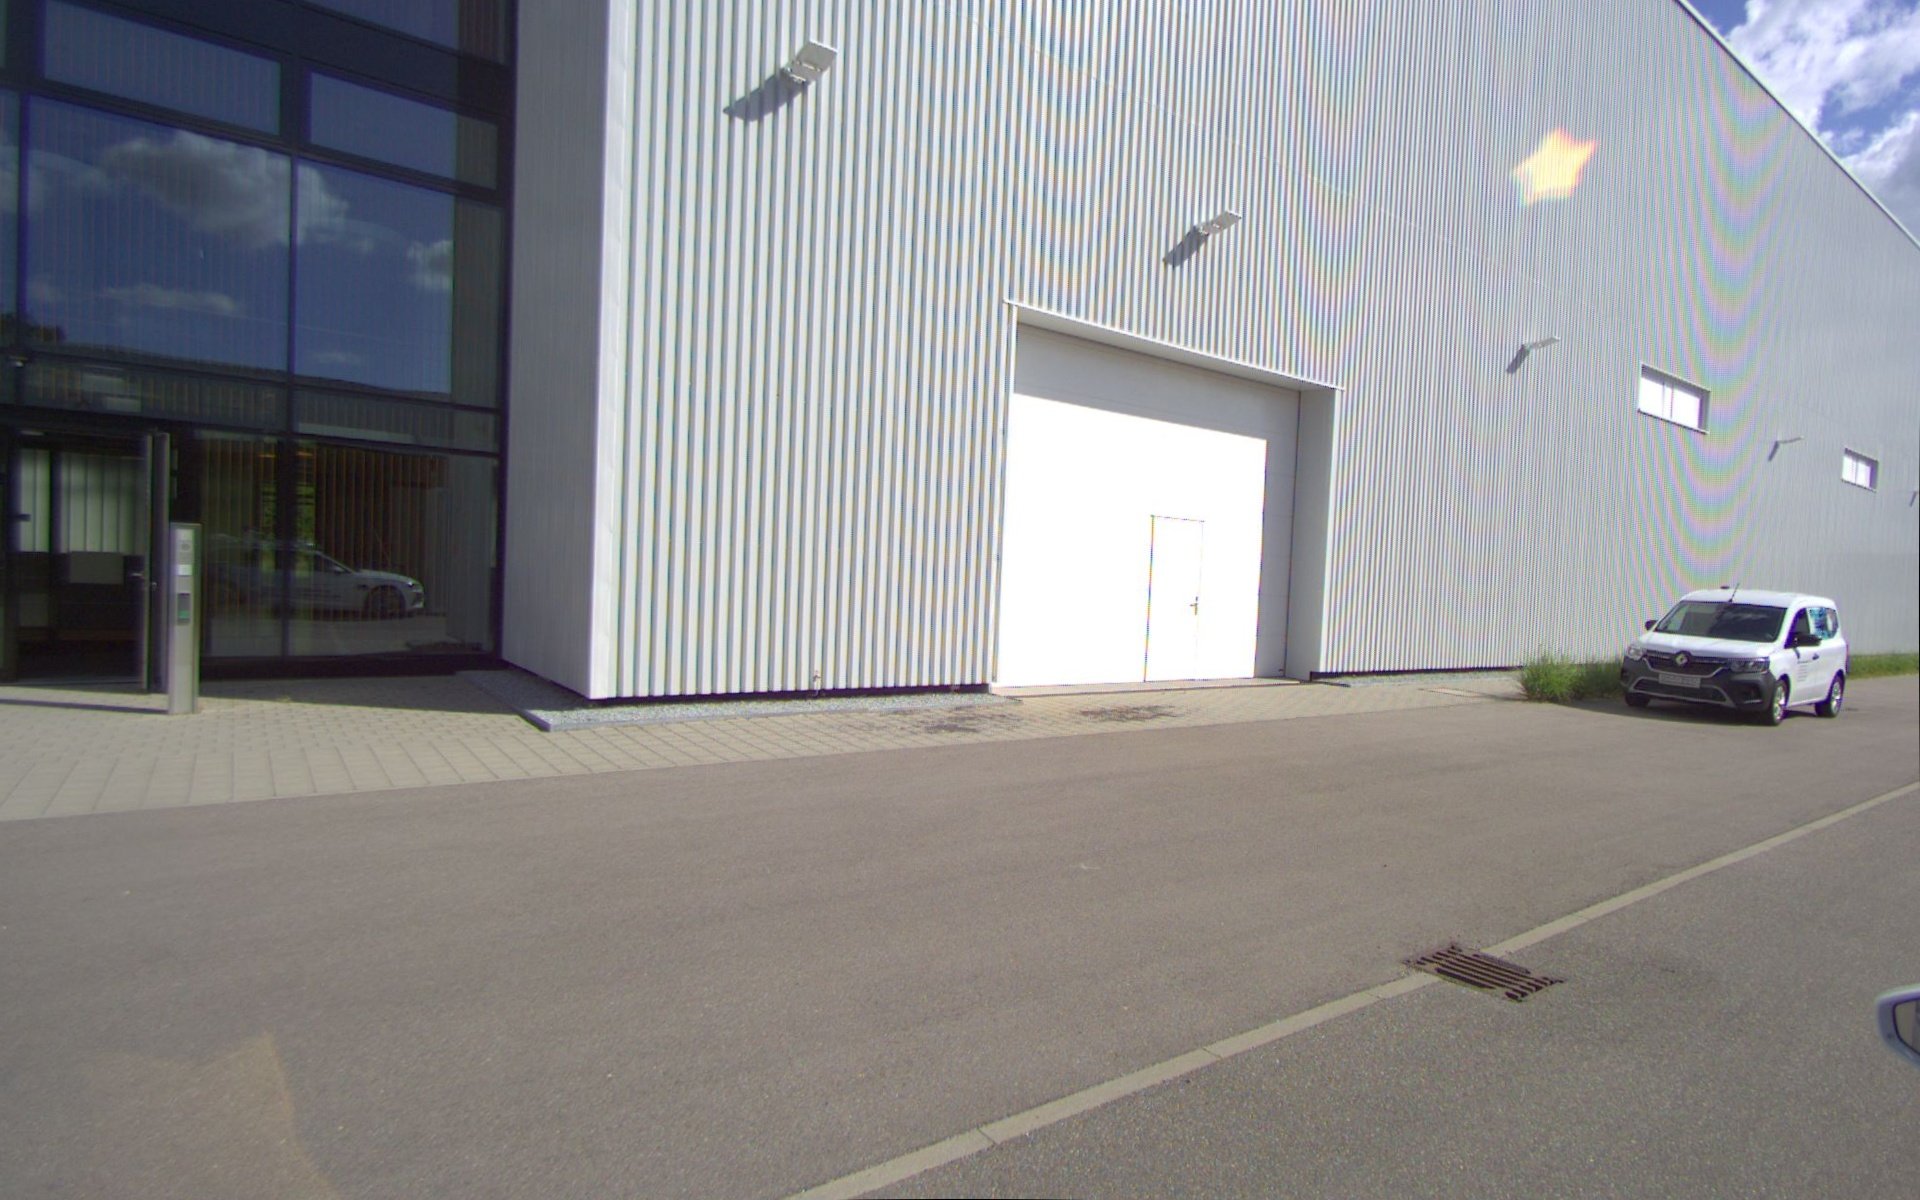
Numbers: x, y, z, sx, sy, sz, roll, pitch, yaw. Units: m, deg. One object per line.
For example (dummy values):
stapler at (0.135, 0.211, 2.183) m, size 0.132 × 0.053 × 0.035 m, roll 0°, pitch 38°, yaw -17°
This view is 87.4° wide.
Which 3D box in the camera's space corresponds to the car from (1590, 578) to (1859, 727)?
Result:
car at (11.469, 0.708, 14.971) m, size 4.554 × 1.814 × 1.914 m, roll 1°, pitch 3°, yaw -37°
